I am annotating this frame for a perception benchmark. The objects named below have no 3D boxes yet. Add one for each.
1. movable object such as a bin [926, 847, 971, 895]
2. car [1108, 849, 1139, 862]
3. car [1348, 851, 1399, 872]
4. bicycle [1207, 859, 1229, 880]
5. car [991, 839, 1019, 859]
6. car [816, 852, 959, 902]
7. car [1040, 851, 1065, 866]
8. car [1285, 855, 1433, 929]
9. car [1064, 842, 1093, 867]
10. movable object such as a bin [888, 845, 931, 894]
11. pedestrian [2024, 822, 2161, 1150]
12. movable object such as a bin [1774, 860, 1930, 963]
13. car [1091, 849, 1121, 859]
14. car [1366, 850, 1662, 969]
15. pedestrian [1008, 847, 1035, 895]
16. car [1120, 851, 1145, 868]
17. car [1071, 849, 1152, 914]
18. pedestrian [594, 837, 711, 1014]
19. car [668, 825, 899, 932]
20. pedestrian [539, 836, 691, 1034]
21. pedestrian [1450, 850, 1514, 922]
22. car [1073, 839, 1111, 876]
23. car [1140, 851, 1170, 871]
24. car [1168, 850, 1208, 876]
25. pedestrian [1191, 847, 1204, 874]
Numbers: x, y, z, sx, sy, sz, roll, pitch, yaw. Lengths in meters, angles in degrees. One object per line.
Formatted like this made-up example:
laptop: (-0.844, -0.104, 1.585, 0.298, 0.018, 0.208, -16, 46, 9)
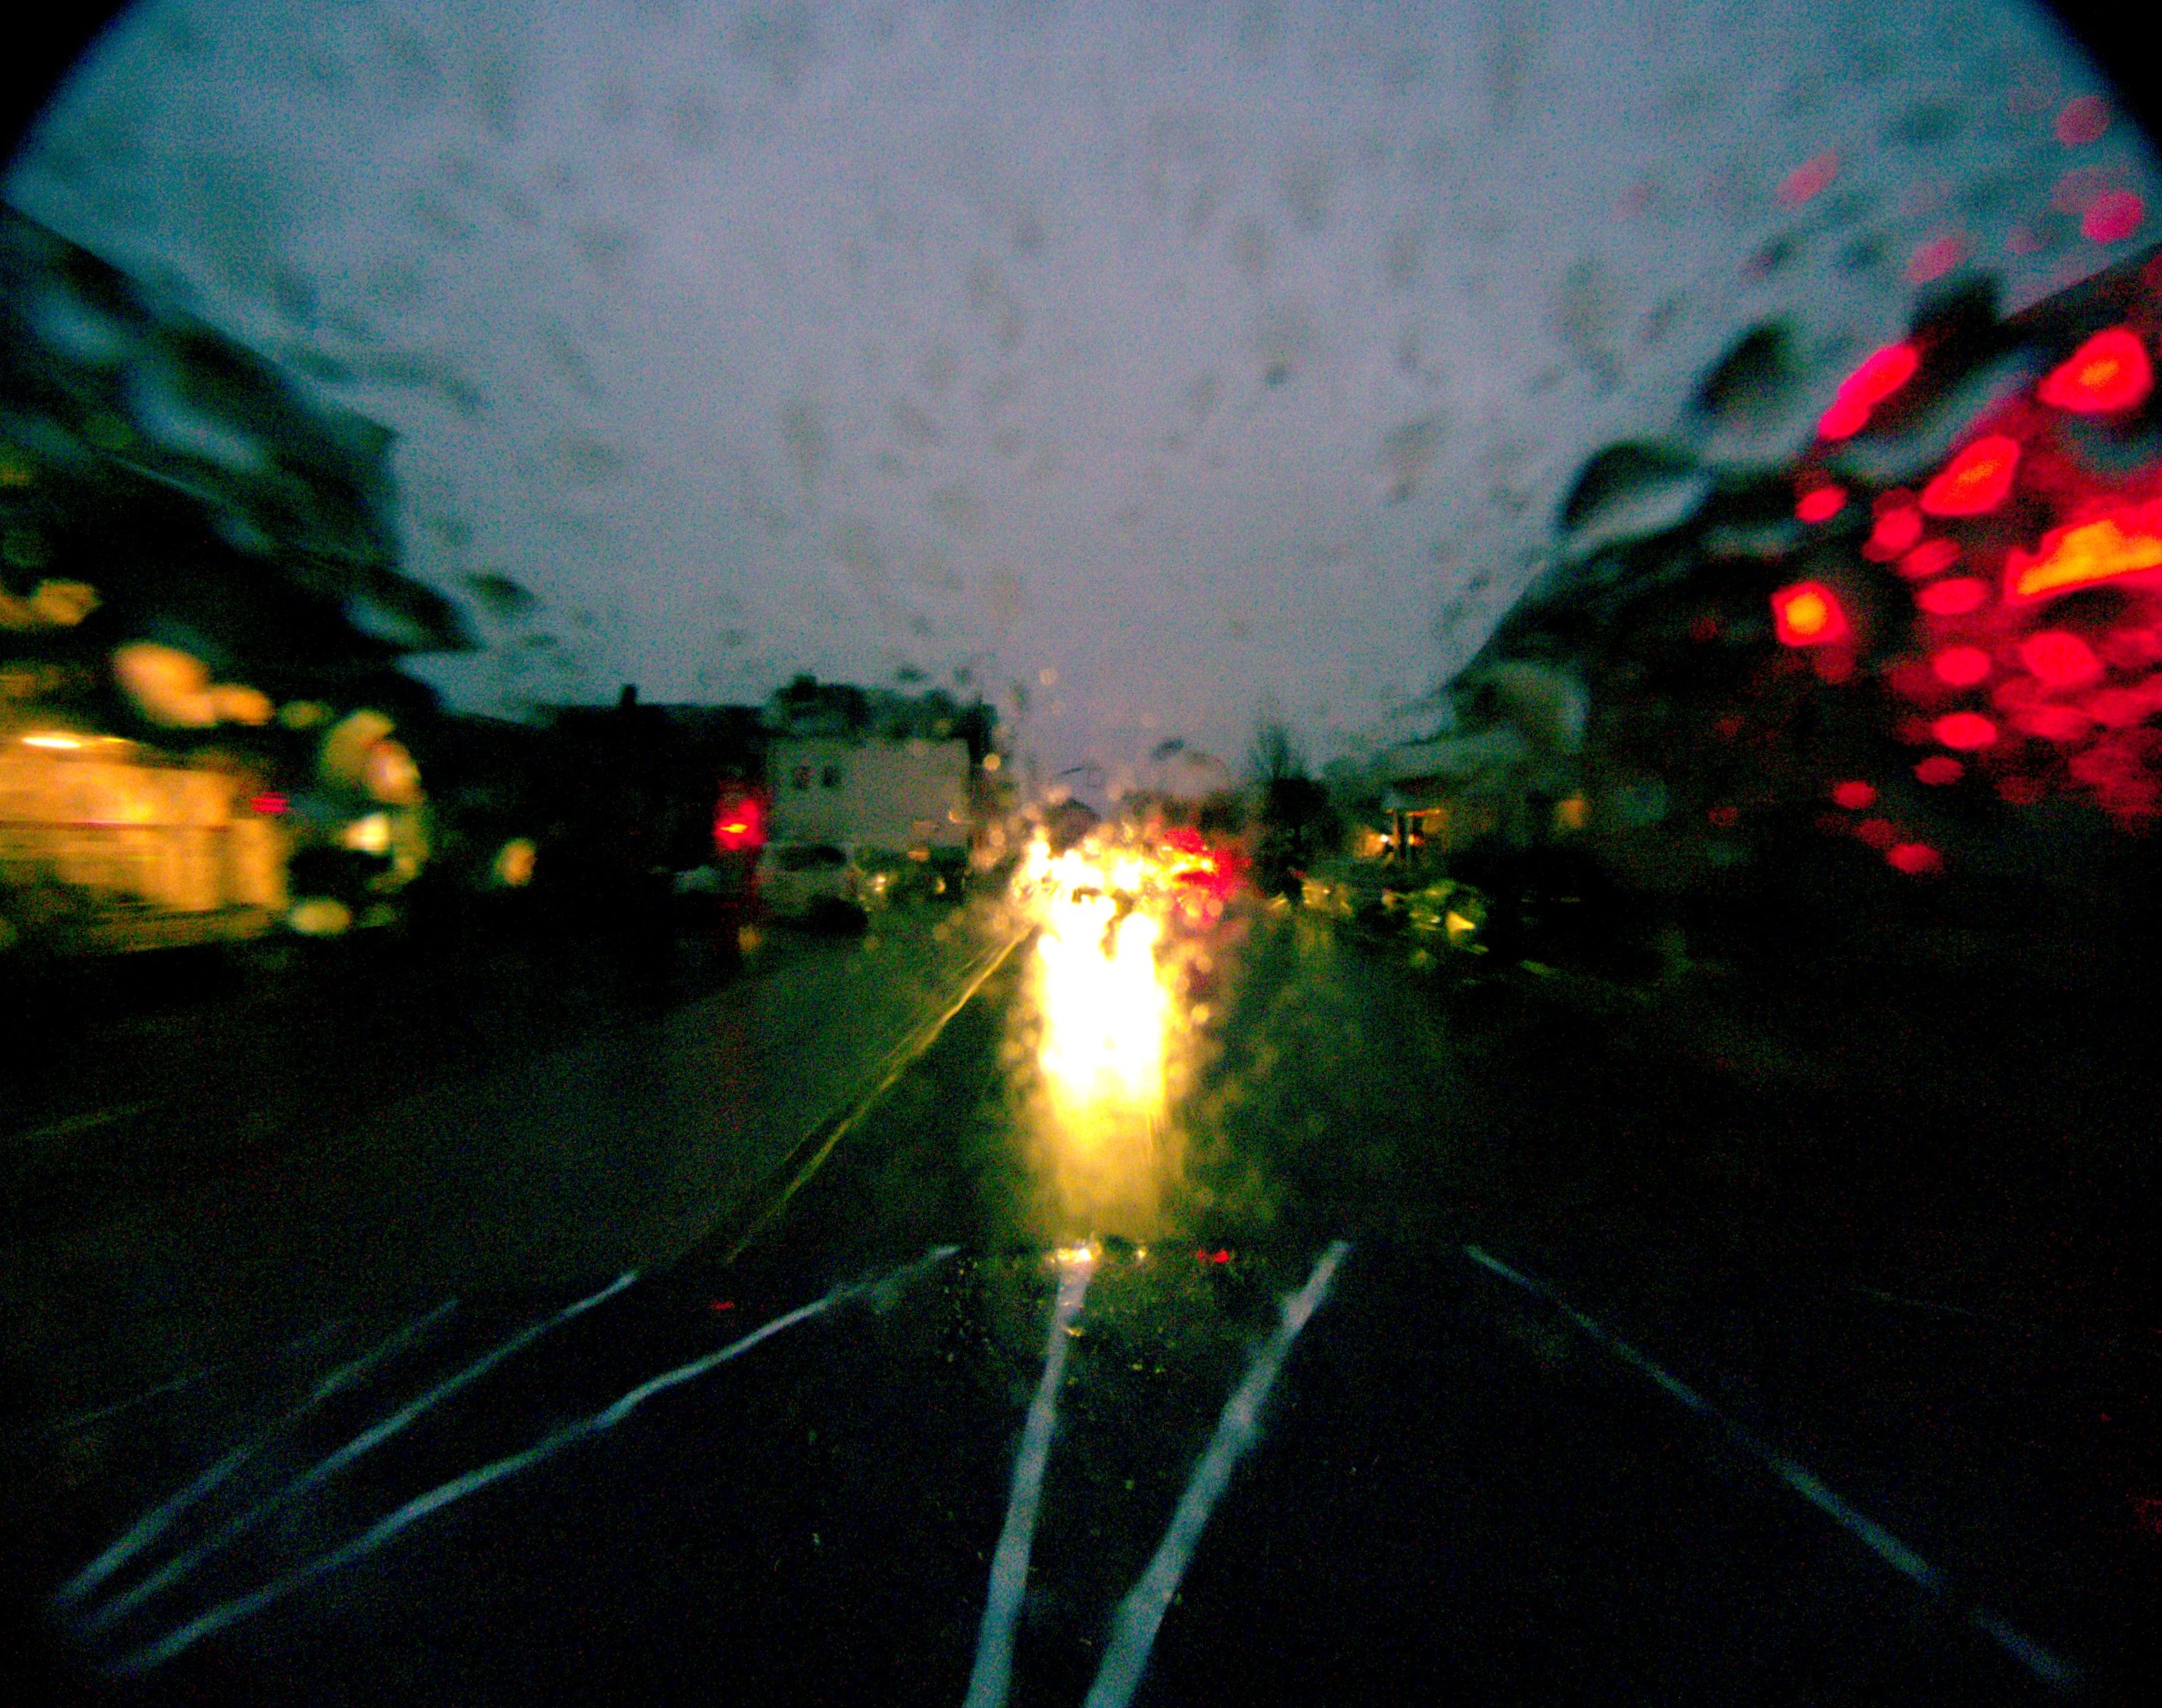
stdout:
movable object such as a bin: (-4.642, 0.586, 26.716, 1.397, 1.634, 1.261, 1, 0, -3)
car: (5.480, 0.147, 98.141, 3.840, 1.537, 2.000, -2, 1, 4)
car: (23.415, 0.582, 60.916, 2.000, 1.555, 3.996, 0, 0, -10)
bicycle: (7.161, 0.823, 39.682, 0.325, 1.055, 1.742, 4, -2, -17)
car: (-6.061, -0.415, 61.151, 1.935, 1.477, 4.694, -2, 1, -3)
car: (-6.068, 0.692, 24.190, 3.996, 1.478, 1.912, 0, 2, 2)
car: (-3.055, 0.471, 80.740, 2.000, 1.506, 3.996, -2, 1, -11)
car: (6.812, 0.840, 19.223, 1.999, 1.549, 4.620, -2, 0, 0)
car: (-0.235, 0.012, 59.407, 1.999, 1.844, 3.998, -2, 1, -4)
movable object such as a bin: (-6.011, 0.537, 26.725, 1.289, 1.634, 1.185, 1, 0, -3)
pedestrian: (6.742, 0.746, 4.544, 1.010, 1.865, 0.944, 0, 1, 17)
movable object such as a bin: (10.778, 0.789, 10.651, 1.345, 1.346, 0.888, 2, 1, -10)
car: (3.360, -0.024, 103.617, 3.996, 1.291, 2.000, -2, 1, 2)
car: (6.659, 0.714, 12.519, 1.999, 1.514, 4.977, -1, 1, 0)
pedestrian: (-2.352, 0.658, 30.263, 0.969, 1.878, 1.005, -2, 1, -3)
car: (4.936, 0.528, 73.139, 1.840, 1.526, 4.137, -2, 1, -3)
car: (0.806, 0.734, 22.841, 1.999, 1.720, 3.998, -2, 1, -3)
pedestrian: (-4.333, 0.685, 7.744, 0.705, 1.695, 0.914, 1, 1, -4)
car: (-6.207, 0.466, 16.124, 4.098, 2.038, 2.001, 1, 1, 8)
pedestrian: (-4.259, 0.688, 7.005, 0.837, 1.695, 0.846, 1, 1, 11)
pedestrian: (9.623, 0.746, 18.281, 0.829, 1.649, 1.096, -3, 1, -7)
car: (0.601, 0.185, 44.287, 1.999, 2.002, 3.999, -2, 1, -1)
car: (5.836, 0.539, 60.219, 1.699, 1.423, 4.375, -2, 0, -3)
car: (6.832, 0.538, 48.889, 1.789, 1.480, 4.181, -2, 1, -3)
pedestrian: (8.590, 0.474, 56.043, 0.902, 2.002, 0.791, -1, 1, 6)
